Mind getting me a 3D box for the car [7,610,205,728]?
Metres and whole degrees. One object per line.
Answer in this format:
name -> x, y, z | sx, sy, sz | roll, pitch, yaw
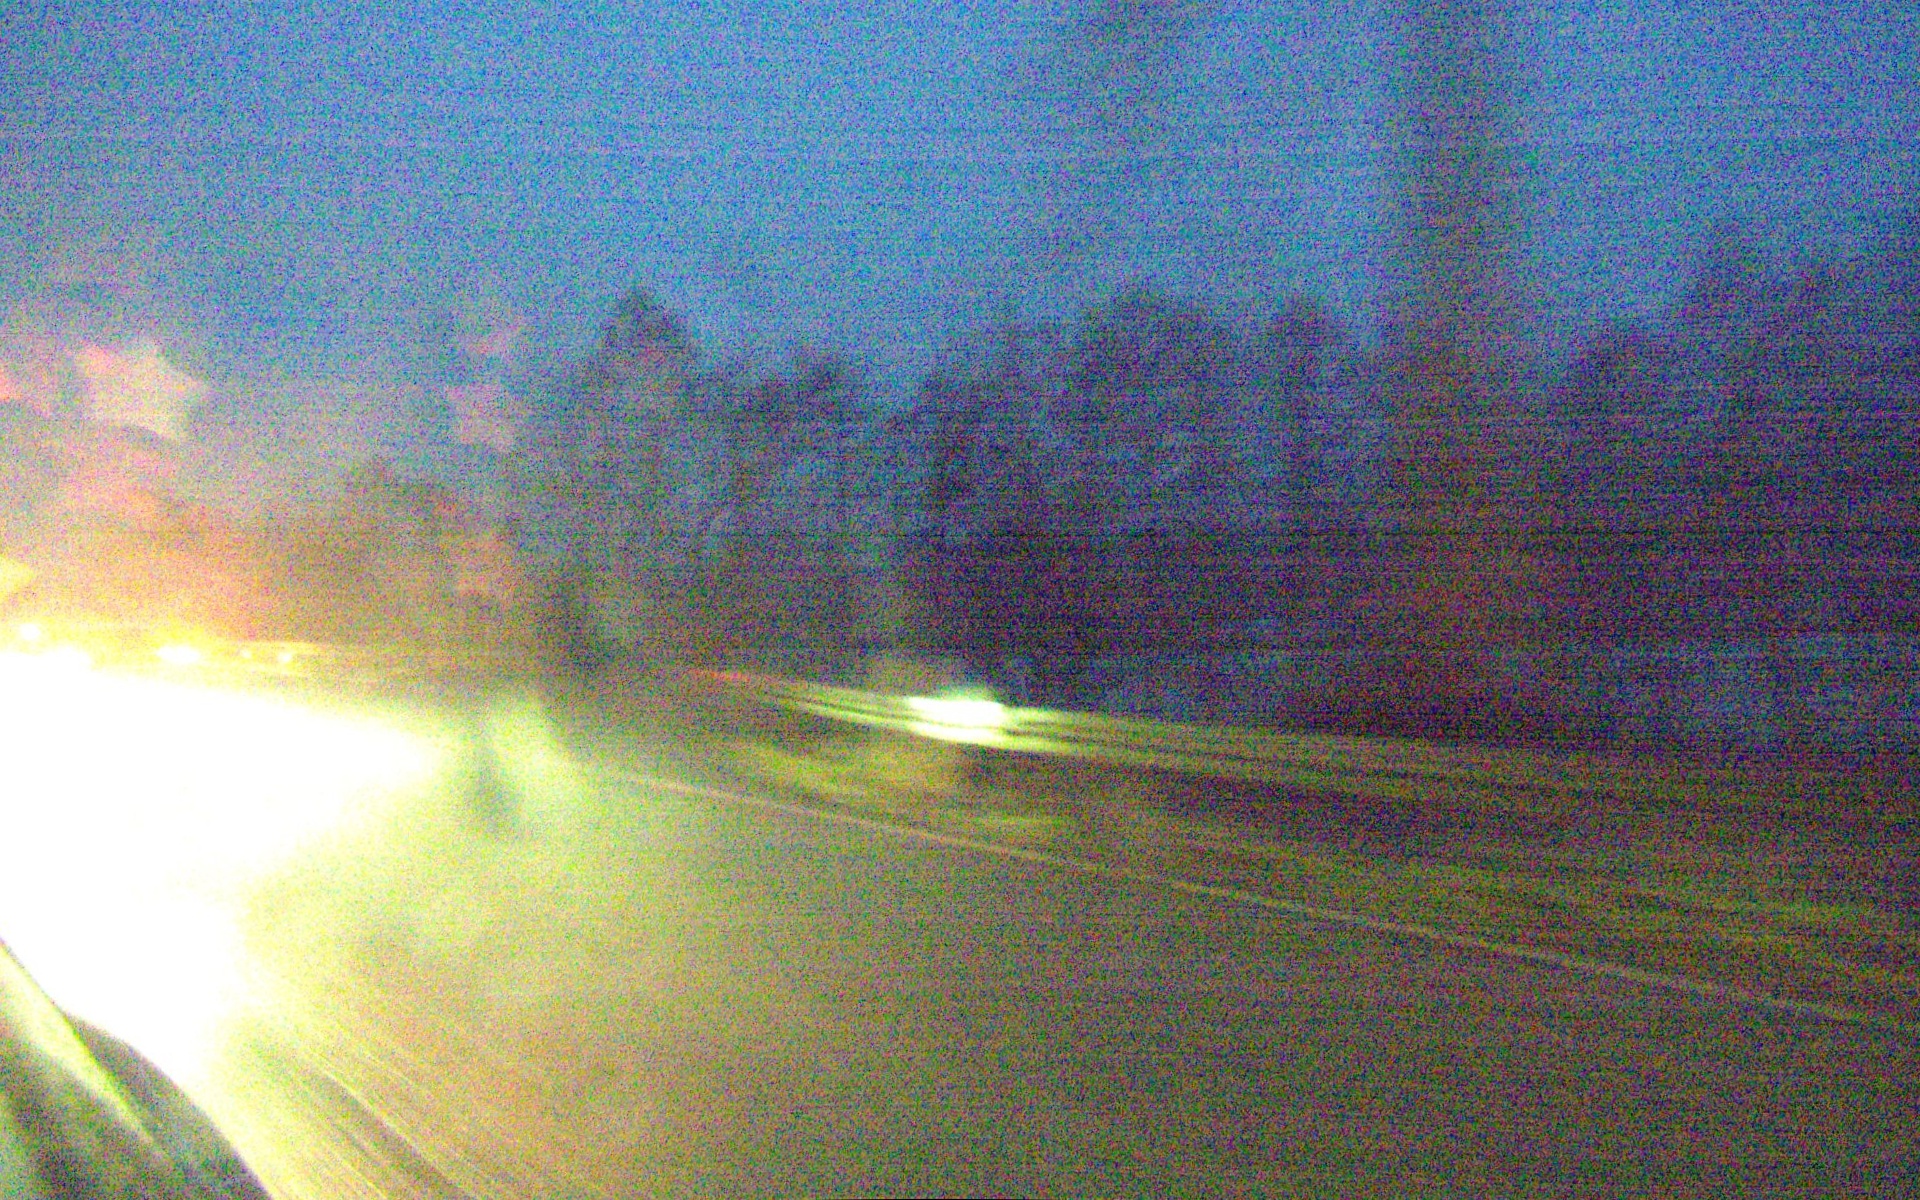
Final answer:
car -> -13.132, 0.977, 15.501 | 3.687, 1.521, 1.754 | -2, 0, 41
